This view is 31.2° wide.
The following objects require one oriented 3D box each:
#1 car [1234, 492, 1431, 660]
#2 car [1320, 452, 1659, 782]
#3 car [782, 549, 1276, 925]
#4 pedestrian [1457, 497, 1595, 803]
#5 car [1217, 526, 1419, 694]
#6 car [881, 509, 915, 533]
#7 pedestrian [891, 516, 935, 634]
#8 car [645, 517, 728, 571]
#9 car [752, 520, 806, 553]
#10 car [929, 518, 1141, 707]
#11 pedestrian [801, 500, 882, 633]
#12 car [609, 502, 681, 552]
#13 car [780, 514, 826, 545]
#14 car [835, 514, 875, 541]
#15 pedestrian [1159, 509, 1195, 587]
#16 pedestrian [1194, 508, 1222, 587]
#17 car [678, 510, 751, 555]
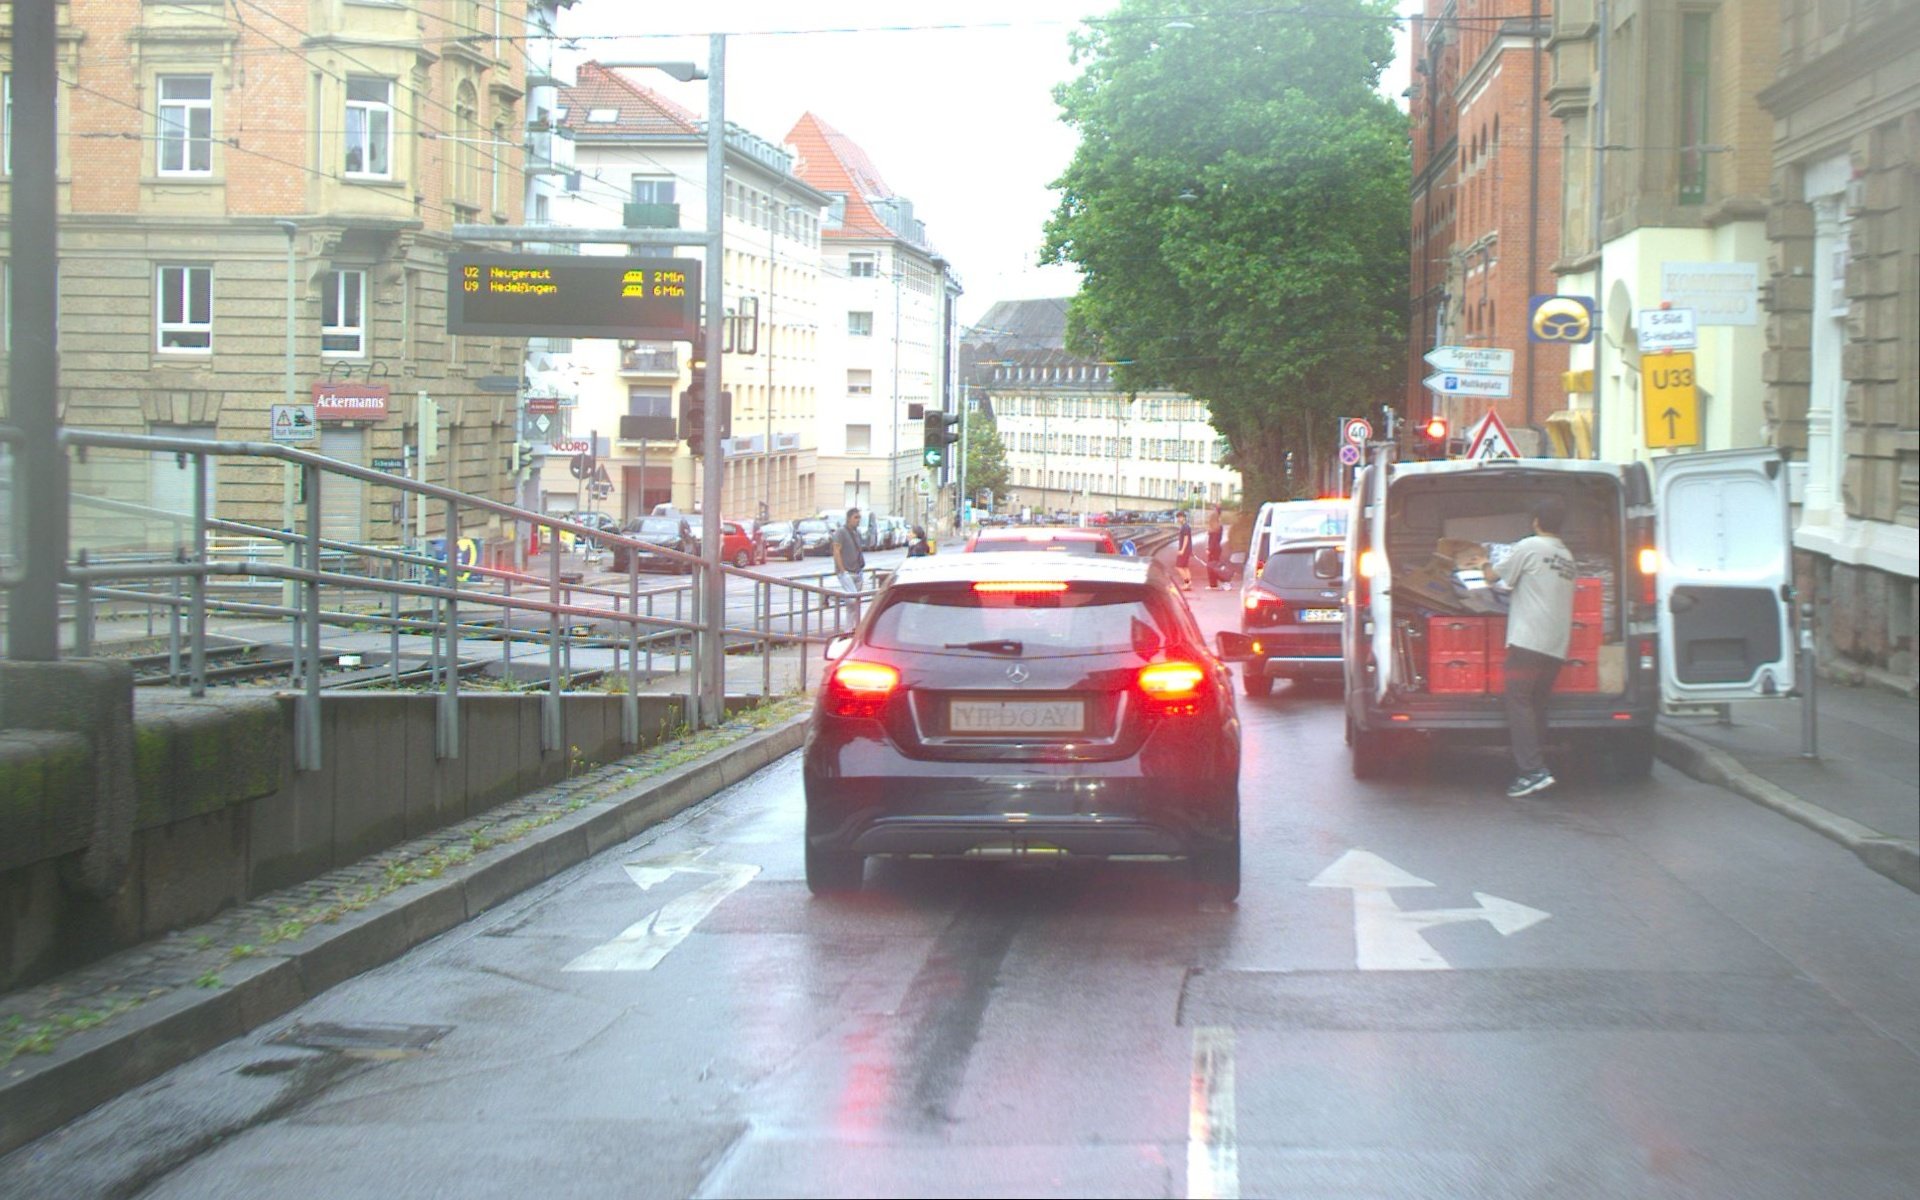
[{"bbox_3d":[4.274,-0.326,40.074,1.933,1.825,4.281,1,2,2],"label":"car"},{"bbox_3d":[3.379,0.046,22.720,1.921,1.929,4.685,1,1,5],"label":"car"},{"bbox_3d":[0.441,0.495,15.249,1.895,1.385,3.999,1,1,5],"label":"car"},{"bbox_3d":[3.297,0.279,20.074,0.684,1.748,0.836,0,1,2],"label":"pedestrian"},{"bbox_3d":[3.479,0.040,32.894,1.714,1.464,4.280,1,1,8],"label":"car"},{"bbox_3d":[-3.092,-3.950,172.654,1.395,1.167,3.161,1,1,5],"label":"car"},{"bbox_3d":[-0.611,-0.330,44.721,0.531,1.525,0.436,1,1,-3],"label":"pedestrian"},{"bbox_3d":[-8.018,-1.673,101.212,1.786,1.525,4.462,1,1,4],"label":"car"},{"bbox_3d":[-6.298,-2.234,119.952,1.437,1.103,3.161,1,1,5],"label":"car"},{"bbox_3d":[0.672,0.054,29.091,1.680,1.484,3.613,0,2,3],"label":"car"},{"bbox_3d":[-1.557,-0.445,45.057,0.739,1.718,0.741,0,2,-39],"label":"pedestrian"},{"bbox_3d":[-8.629,-2.019,94.350,1.452,1.314,3.295,2,2,3],"label":"car"},{"bbox_3d":[-6.080,-2.758,133.360,1.395,1.167,3.161,1,1,5],"label":"car"},{"bbox_3d":[-4.605,-3.201,150.921,1.395,1.167,3.161,1,1,5],"label":"car"},{"bbox_3d":[4.600,-1.107,72.815,0.679,1.655,0.676,0,1,11],"label":"pedestrian"},{"bbox_3d":[5.310,-1.121,73.517,0.518,1.660,0.476,2,2,8],"label":"pedestrian"},{"bbox_3d":[-7.642,-2.101,107.253,1.680,1.351,3.702,1,1,5],"label":"car"}]
